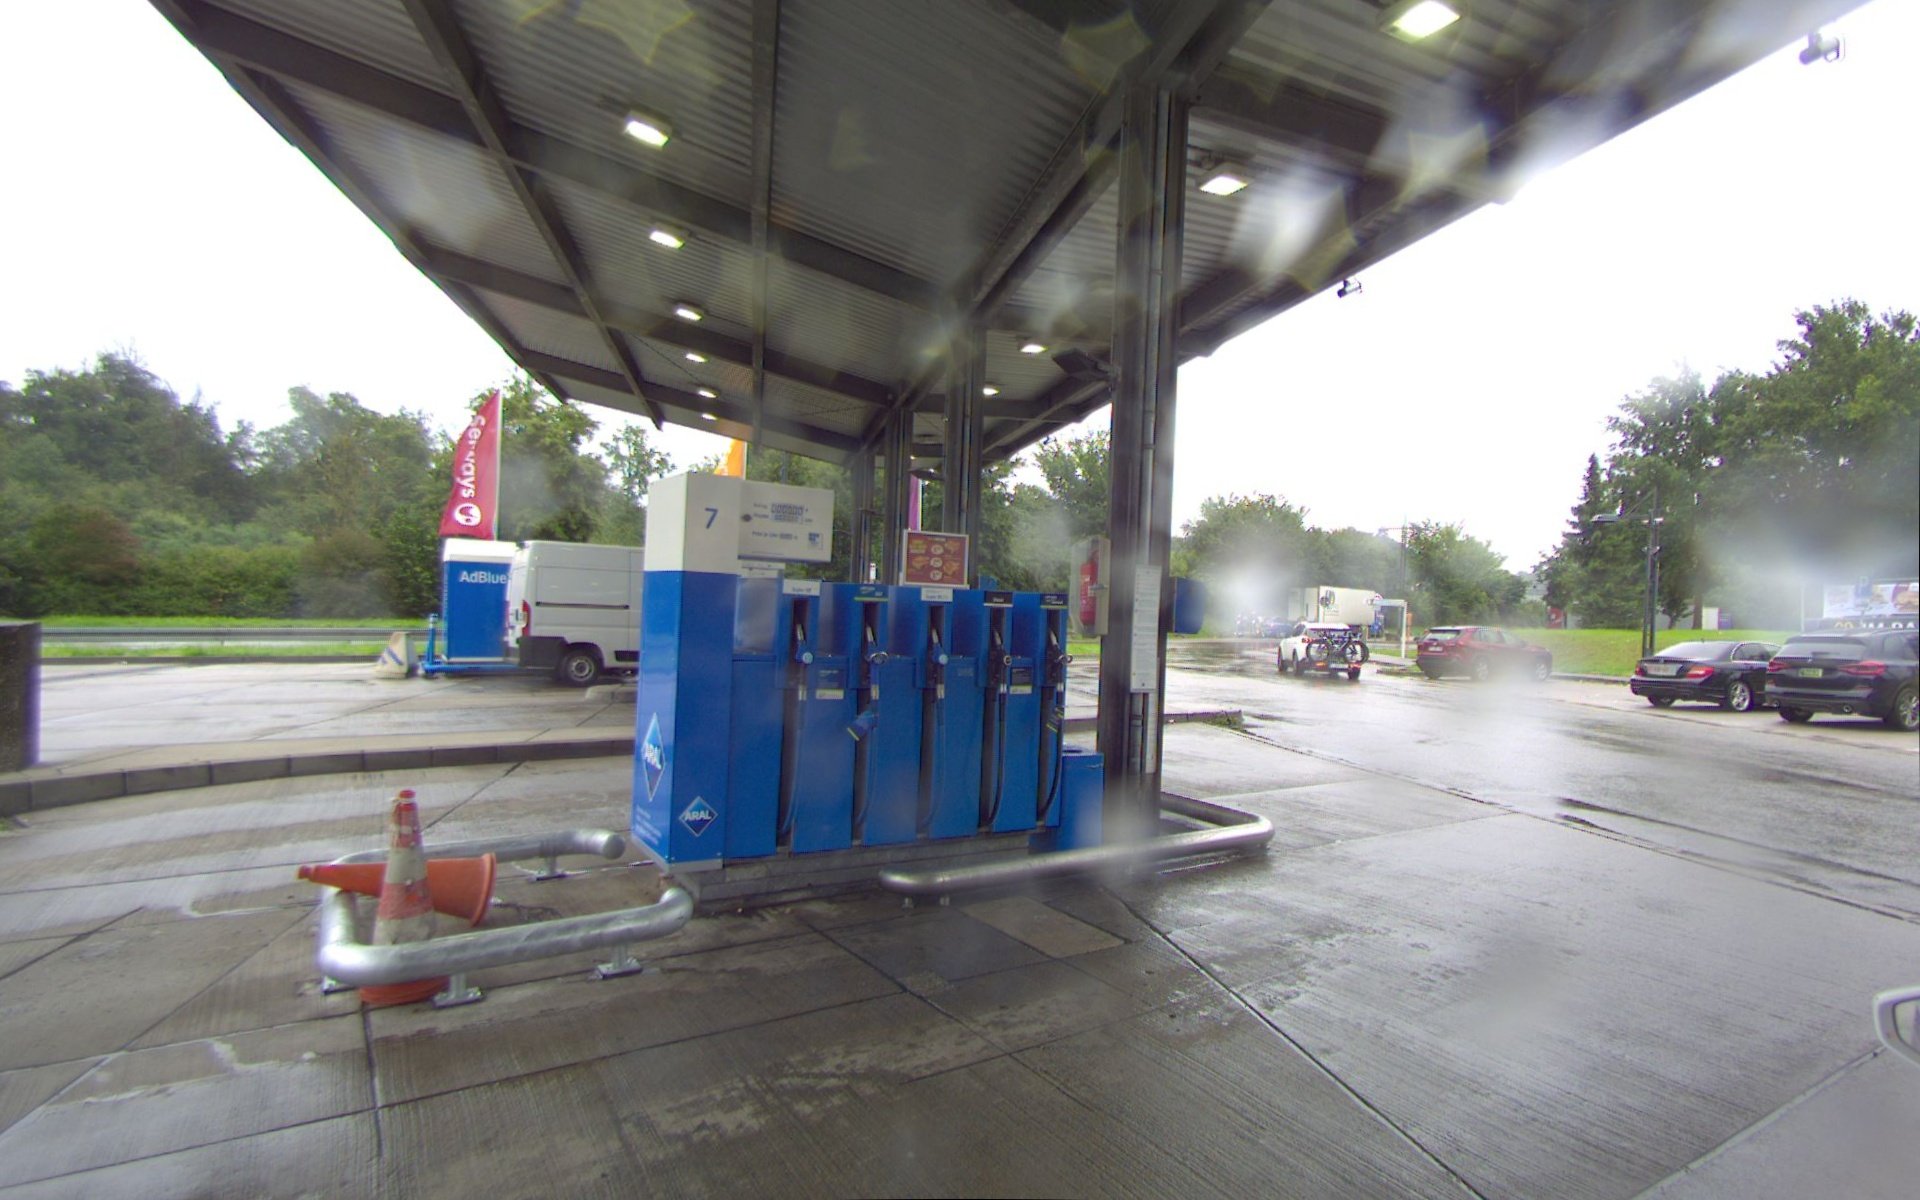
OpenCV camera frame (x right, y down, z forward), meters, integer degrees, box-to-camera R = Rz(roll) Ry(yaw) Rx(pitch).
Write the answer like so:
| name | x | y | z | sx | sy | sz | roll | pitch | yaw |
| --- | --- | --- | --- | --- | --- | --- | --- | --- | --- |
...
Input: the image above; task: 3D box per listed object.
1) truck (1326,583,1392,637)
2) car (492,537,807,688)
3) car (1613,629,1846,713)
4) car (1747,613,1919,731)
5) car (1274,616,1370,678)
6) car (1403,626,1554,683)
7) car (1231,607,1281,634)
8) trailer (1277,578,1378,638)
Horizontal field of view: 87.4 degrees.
| name | x | y | z | sx | sy | sz | roll | pitch | yaw |
| --- | --- | --- | --- | --- | --- | --- | --- | --- | --- |
| truck | 35.581 | 0.933 | 89.461 | 3.416 | 4.618 | 6.704 | 2 | 0 | 40 |
| car | -5.778 | 0.271 | 18.953 | 5.227 | 2.496 | 2.306 | 1 | -1 | -34 |
| car | 15.929 | 1.421 | 20.826 | 4.119 | 1.585 | 1.883 | 1 | -1 | -19 |
| car | 16.142 | 1.192 | 17.407 | 4.344 | 1.852 | 1.883 | 1 | -1 | -19 |
| car | 10.628 | 1.318 | 29.824 | 1.783 | 1.586 | 5.007 | 1 | 0 | 10 |
| car | 15.993 | 1.650 | 30.972 | 4.294 | 1.617 | 1.879 | 1 | -1 | -24 |
| car | 20.905 | 1.444 | 70.834 | 1.903 | 1.862 | 4.373 | 1 | 0 | 38 |
| trailer | 30.907 | 0.762 | 83.858 | 3.416 | 4.618 | 13.847 | 2 | 0 | 40 |
